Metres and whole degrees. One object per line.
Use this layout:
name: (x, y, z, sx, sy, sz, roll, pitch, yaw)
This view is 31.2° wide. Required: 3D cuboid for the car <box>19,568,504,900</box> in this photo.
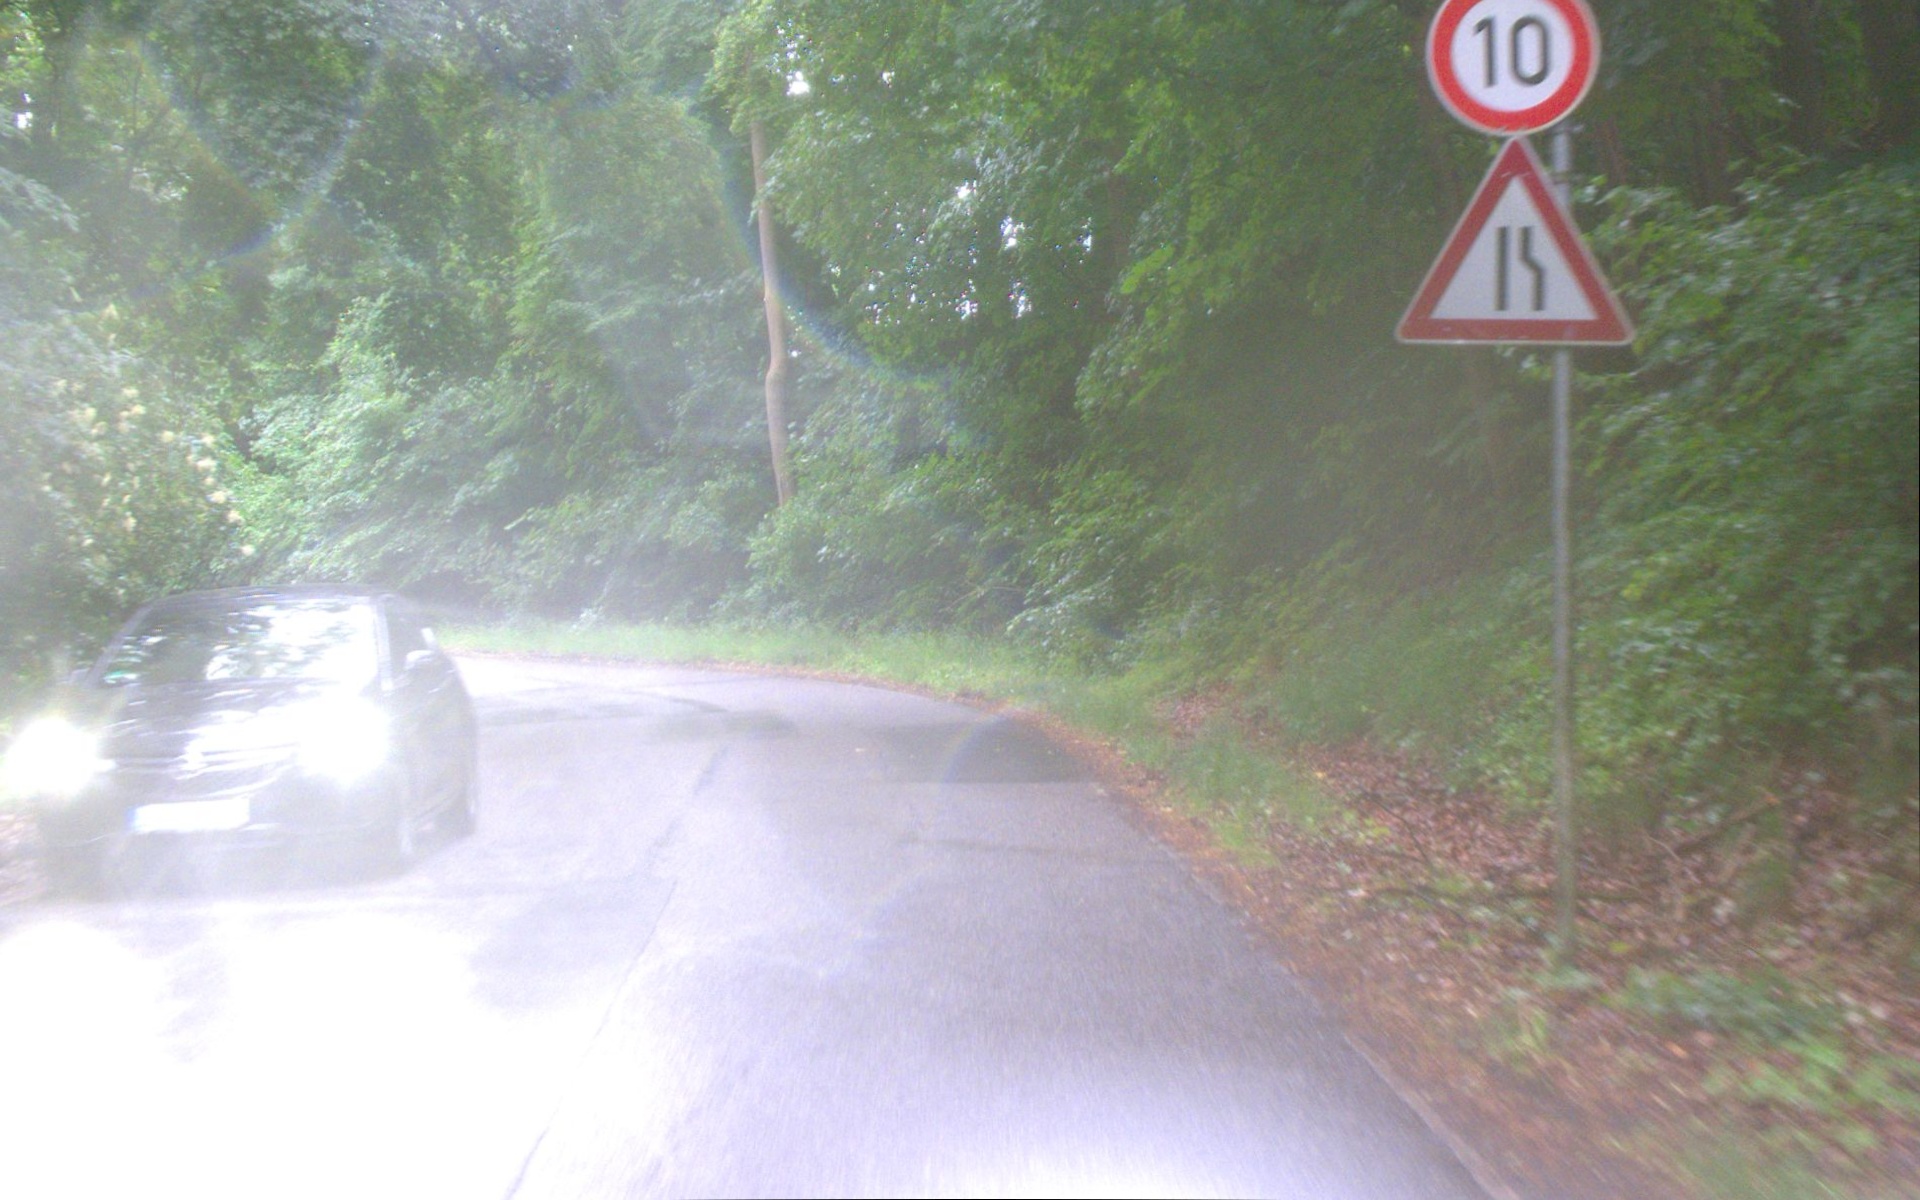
car: (-3.536, 0.612, 18.079, 1.714, 1.470, 3.891, -3, 0, 0)
